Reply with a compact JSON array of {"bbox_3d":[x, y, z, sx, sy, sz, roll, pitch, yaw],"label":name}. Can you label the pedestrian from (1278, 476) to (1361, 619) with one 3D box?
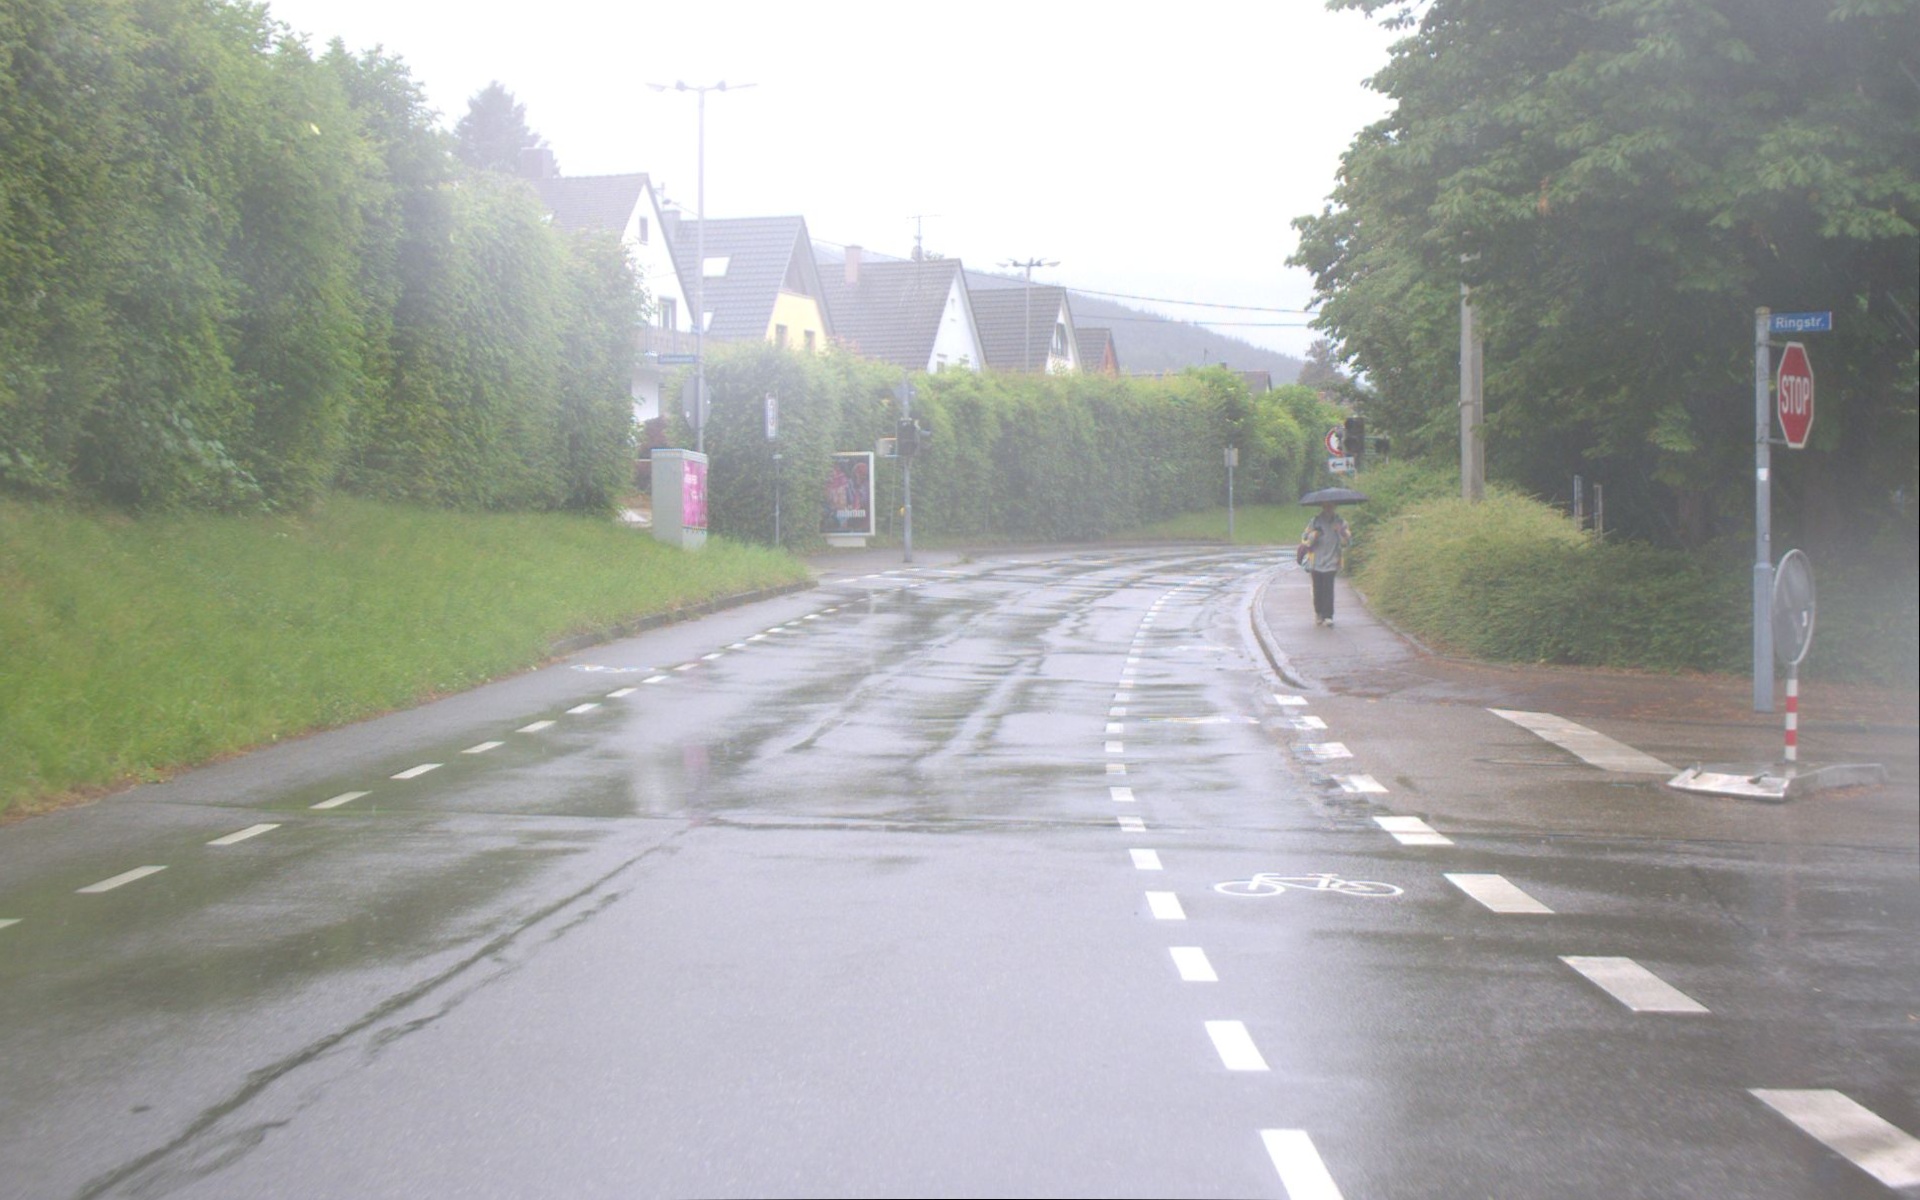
[{"bbox_3d":[4.311,-0.641,41.275,0.920,1.669,1.057,-1,2,4],"label":"pedestrian"}]
